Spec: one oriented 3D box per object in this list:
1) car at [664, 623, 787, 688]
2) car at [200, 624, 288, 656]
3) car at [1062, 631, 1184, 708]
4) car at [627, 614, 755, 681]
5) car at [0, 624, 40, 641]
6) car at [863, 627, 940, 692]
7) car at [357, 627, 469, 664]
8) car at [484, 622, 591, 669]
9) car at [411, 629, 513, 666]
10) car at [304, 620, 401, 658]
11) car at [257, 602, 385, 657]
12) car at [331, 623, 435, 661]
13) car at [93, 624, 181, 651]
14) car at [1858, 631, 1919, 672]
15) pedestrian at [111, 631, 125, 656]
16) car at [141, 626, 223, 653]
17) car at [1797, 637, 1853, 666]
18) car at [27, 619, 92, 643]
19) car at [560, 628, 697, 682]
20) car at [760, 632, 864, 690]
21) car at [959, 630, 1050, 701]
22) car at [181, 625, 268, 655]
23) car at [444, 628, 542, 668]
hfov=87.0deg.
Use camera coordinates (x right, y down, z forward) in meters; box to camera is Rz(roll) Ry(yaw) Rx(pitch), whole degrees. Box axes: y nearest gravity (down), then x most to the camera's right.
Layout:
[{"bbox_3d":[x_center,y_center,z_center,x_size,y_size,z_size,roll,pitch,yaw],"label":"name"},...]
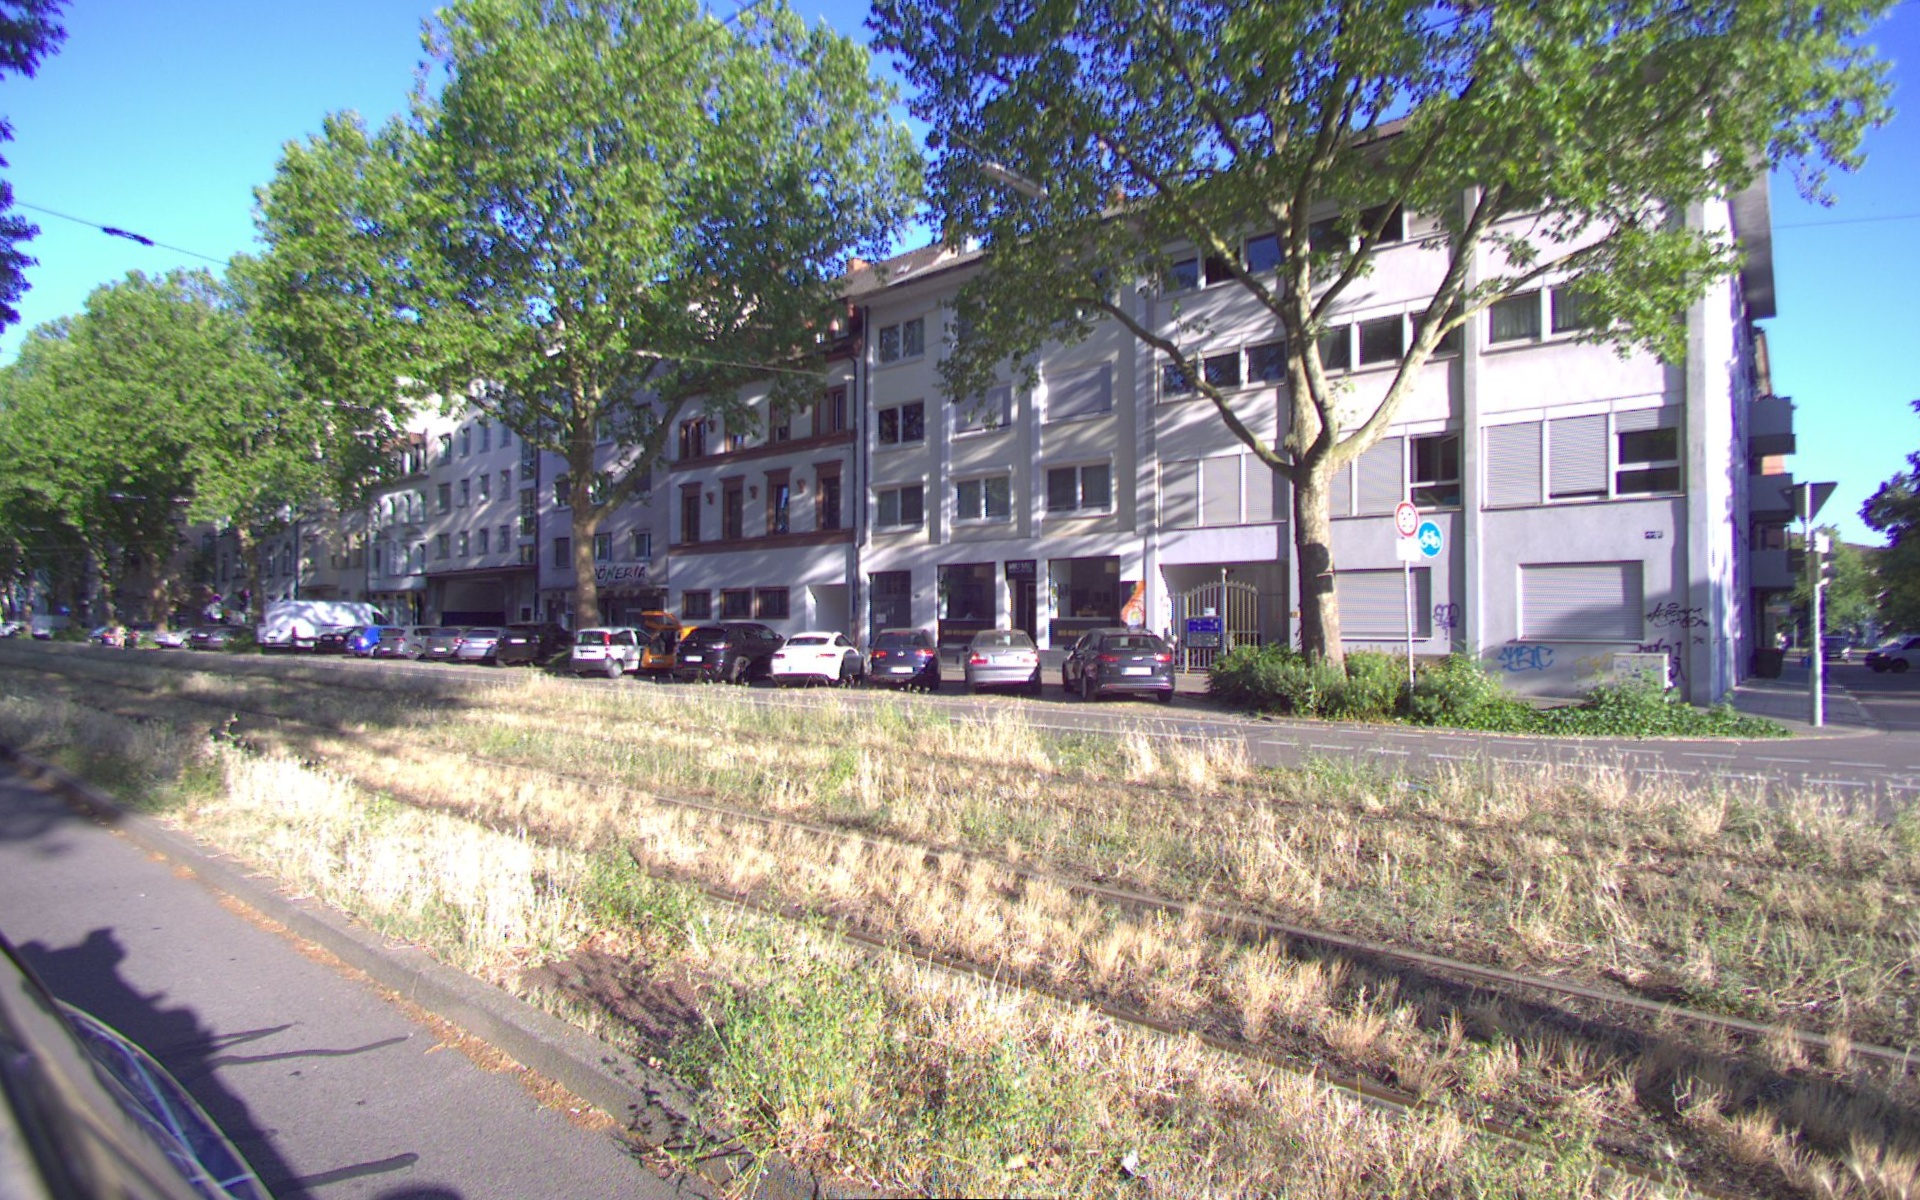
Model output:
[{"bbox_3d":[-6.489,1.509,28.528,2.126,1.697,4.250,0,-2,6],"label":"car"},{"bbox_3d":[-42.538,2.384,60.226,1.980,1.830,3.982,0,-2,13],"label":"car"},{"bbox_3d":[3.287,1.374,21.156,1.746,1.443,3.973,0,-2,-2],"label":"car"},{"bbox_3d":[-8.310,1.440,31.660,1.508,1.958,4.221,-1,-2,25],"label":"car"},{"bbox_3d":[-106.713,3.689,114.343,3.937,1.827,1.876,2,-2,-40],"label":"car"},{"bbox_3d":[-1.452,1.460,25.666,1.805,1.516,3.973,0,-2,-2],"label":"car"},{"bbox_3d":[-23.843,1.953,44.262,1.985,1.530,3.973,0,-2,20],"label":"car"},{"bbox_3d":[-15.362,1.637,37.053,1.883,1.626,4.251,0,-2,5],"label":"car"},{"bbox_3d":[-20.453,1.921,41.781,1.883,1.468,4.251,0,-2,4],"label":"car"},{"bbox_3d":[-30.668,1.966,51.253,1.980,1.830,3.982,0,-2,13],"label":"car"},{"bbox_3d":[-33.079,1.522,52.613,2.161,2.721,5.583,0,-2,16],"label":"car"},{"bbox_3d":[-26.272,1.901,46.234,1.980,1.630,3.982,0,-2,13],"label":"car"},{"bbox_3d":[-54.755,2.471,67.379,1.996,1.719,4.184,-1,-2,36],"label":"car"},{"bbox_3d":[49.285,2.583,51.169,5.378,2.029,1.989,0,-2,17],"label":"car"},{"bbox_3d":[-54.869,2.804,65.911,0.422,1.610,0.612,-1,-2,41],"label":"pedestrian"},{"bbox_3d":[-51.766,2.611,67.411,1.980,1.719,3.982,0,-2,13],"label":"car"},{"bbox_3d":[62.867,3.715,73.651,1.991,2.029,5.371,-1,-2,29],"label":"car"},{"bbox_3d":[-88.315,3.038,99.313,2.071,2.230,4.943,0,-2,-2],"label":"car"},{"bbox_3d":[-10.270,1.662,31.661,1.634,1.569,4.221,-1,-2,25],"label":"car"},{"bbox_3d":[-3.782,1.549,26.643,2.123,1.388,4.257,0,-2,0],"label":"car"},{"bbox_3d":[0.934,1.444,23.343,1.717,1.443,3.973,-1,-2,-2],"label":"car"},{"bbox_3d":[-45.133,2.439,62.220,1.980,1.830,3.982,0,-2,13],"label":"car"},{"bbox_3d":[-18.116,1.826,39.472,1.582,1.470,4.251,0,-2,4],"label":"car"}]
